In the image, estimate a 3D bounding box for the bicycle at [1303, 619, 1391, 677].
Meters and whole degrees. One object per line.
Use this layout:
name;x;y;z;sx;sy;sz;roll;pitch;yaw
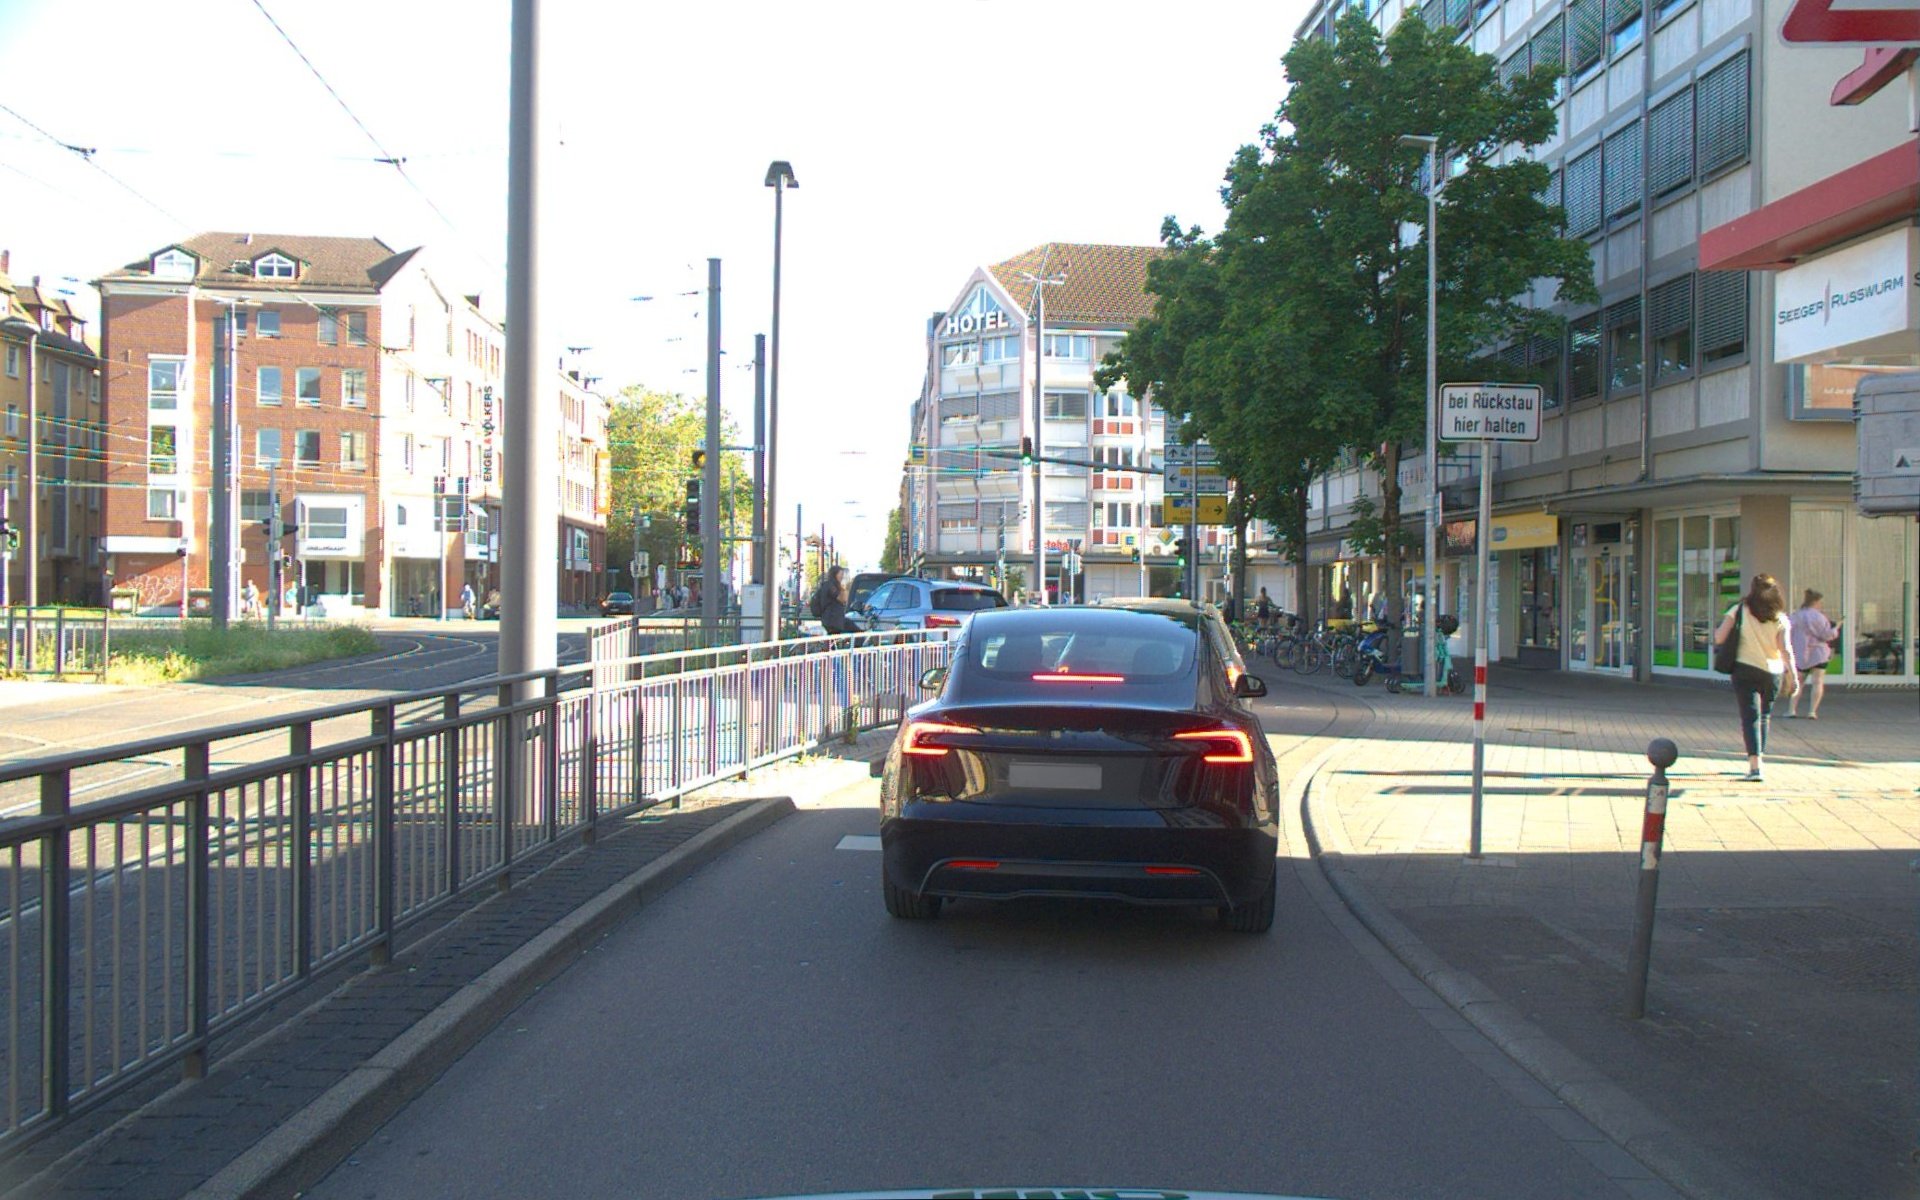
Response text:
bicycle;7.379;0.911;31.535;1.620;1.079;0.349;1;-1;-11

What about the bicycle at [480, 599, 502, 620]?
bicycle;-26.020;0.514;91.830;0.518;1.107;2.284;1;0;1

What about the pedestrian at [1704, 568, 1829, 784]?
pedestrian;6.933;0.621;14.264;0.895;1.783;1.038;0;0;22

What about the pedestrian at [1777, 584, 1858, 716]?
pedestrian;11.381;0.647;21.980;0.871;1.696;0.808;1;-1;23

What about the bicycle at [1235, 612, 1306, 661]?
bicycle;7.396;0.869;39.414;1.616;1.118;0.350;1;-1;1

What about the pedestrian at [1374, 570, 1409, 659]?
pedestrian;10.013;0.328;38.402;0.648;2.049;0.579;1;-1;1

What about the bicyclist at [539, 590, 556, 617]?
bicyclist;-23.663;0.192;94.924;0.769;1.554;0.589;1;-1;3

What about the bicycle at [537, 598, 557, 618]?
bicycle;-23.669;0.446;94.789;0.449;1.112;2.202;1;0;3

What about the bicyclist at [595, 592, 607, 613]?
bicyclist;-27.526;0.156;126.796;0.767;1.590;0.746;1;-1;1

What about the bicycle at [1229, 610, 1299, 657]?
bicycle;7.425;0.822;40.428;1.616;1.118;0.350;1;-1;1

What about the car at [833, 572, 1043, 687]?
car;-0.443;0.444;26.558;1.859;1.691;4.125;1;0;-25

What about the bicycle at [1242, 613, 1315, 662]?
bicycle;7.380;0.867;38.387;1.616;1.118;0.350;1;-1;1

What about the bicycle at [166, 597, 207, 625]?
bicycle;-28.259;0.392;60.461;0.437;0.988;2.246;1;0;-1

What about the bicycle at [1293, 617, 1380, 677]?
bicycle;7.275;0.911;31.957;1.620;1.118;0.349;1;-1;-11

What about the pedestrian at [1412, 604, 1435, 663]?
pedestrian;10.723;0.773;38.299;0.381;1.367;0.513;1;-1;1

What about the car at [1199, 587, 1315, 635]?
car;10.632;0.397;59.278;3.740;1.643;1.825;1;0;-5

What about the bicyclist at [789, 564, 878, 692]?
bicyclist;-1.690;0.367;22.112;0.753;1.657;0.964;1;-1;-39

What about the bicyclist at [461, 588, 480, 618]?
bicyclist;-25.834;0.171;87.332;0.767;1.590;0.746;1;-1;1

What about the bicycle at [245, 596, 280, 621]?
bicycle;-28.392;0.329;67.365;0.513;0.988;2.246;1;0;-1

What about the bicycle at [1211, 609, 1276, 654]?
bicycle;7.290;0.803;42.566;1.616;1.118;0.350;1;-1;1

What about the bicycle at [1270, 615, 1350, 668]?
bicycle;7.496;0.886;35.436;1.616;1.118;0.350;1;-1;1

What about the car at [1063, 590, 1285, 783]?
car;1.876;0.667;15.008;1.714;1.480;4.003;1;0;6

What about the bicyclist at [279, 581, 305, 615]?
bicyclist;-29.767;-0.073;73.695;0.689;1.496;0.973;0;0;7

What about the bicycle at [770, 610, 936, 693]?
bicycle;-1.422;0.684;22.386;2.313;1.072;0.622;1;-1;-39

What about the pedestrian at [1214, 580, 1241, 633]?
pedestrian;8.616;0.200;53.289;0.685;1.691;0.777;1;-1;-1

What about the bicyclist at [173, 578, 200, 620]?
bicyclist;-28.257;-0.027;60.432;0.620;1.529;0.696;1;-1;-1

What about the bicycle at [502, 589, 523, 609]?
bicycle;-25.912;-0.049;95.784;0.518;1.107;2.284;1;0;1

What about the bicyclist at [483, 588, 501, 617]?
bicyclist;-26.017;0.132;91.866;0.767;1.590;0.746;0;0;1

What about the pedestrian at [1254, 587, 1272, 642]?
pedestrian;9.780;0.472;53.399;0.515;1.740;0.404;1;-1;8

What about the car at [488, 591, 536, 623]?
car;-23.018;0.360;85.060;1.677;1.553;4.031;1;0;-5

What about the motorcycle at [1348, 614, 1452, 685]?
motorcycle;7.804;0.874;29.356;1.673;1.194;0.541;1;-1;-3

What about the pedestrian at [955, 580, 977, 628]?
pedestrian;0.259;0.162;72.041;0.902;2.049;0.972;1;-1;-1

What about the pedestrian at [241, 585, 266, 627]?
pedestrian;-31.807;0.280;74.486;0.767;1.852;0.746;1;-1;1

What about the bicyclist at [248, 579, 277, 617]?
bicyclist;-28.395;-0.094;67.344;0.880;1.529;0.696;1;-1;-1

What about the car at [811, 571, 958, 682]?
car;-1.562;0.489;32.617;1.962;2.049;3.981;0;0;-17

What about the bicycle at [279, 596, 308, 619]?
bicycle;-29.693;0.337;73.672;0.396;0.998;1.695;1;0;7

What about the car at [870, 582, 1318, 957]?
car;0.680;0.691;8.704;1.791;1.481;4.002;1;0;4

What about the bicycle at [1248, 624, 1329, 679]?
bicycle;6.807;1.062;34.295;1.620;1.118;0.349;1;-1;-11

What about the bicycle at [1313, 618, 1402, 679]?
bicycle;7.475;0.919;31.114;1.620;1.118;0.349;1;-1;-11

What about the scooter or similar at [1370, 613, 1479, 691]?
scooter or similar;7.658;0.841;27.280;1.610;1.236;0.644;1;-1;30

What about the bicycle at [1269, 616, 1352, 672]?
bicycle;7.092;0.889;33.481;1.620;1.118;0.349;1;-1;-11

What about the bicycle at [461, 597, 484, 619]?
bicycle;-25.839;0.427;87.666;0.526;1.107;2.225;1;0;1

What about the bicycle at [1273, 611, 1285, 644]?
bicycle;10.176;0.873;52.814;0.325;1.052;1.257;1;0;9

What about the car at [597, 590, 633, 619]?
car;-22.045;0.293;105.721;1.663;1.762;3.704;1;0;-3

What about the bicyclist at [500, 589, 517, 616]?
bicyclist;-25.975;0.137;95.176;0.767;1.590;0.746;0;0;1

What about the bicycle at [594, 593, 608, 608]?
bicycle;-27.528;0.063;126.849;0.518;1.107;2.225;1;0;1

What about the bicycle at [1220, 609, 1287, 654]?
bicycle;7.360;0.778;41.473;1.616;1.118;0.350;0;0;1
